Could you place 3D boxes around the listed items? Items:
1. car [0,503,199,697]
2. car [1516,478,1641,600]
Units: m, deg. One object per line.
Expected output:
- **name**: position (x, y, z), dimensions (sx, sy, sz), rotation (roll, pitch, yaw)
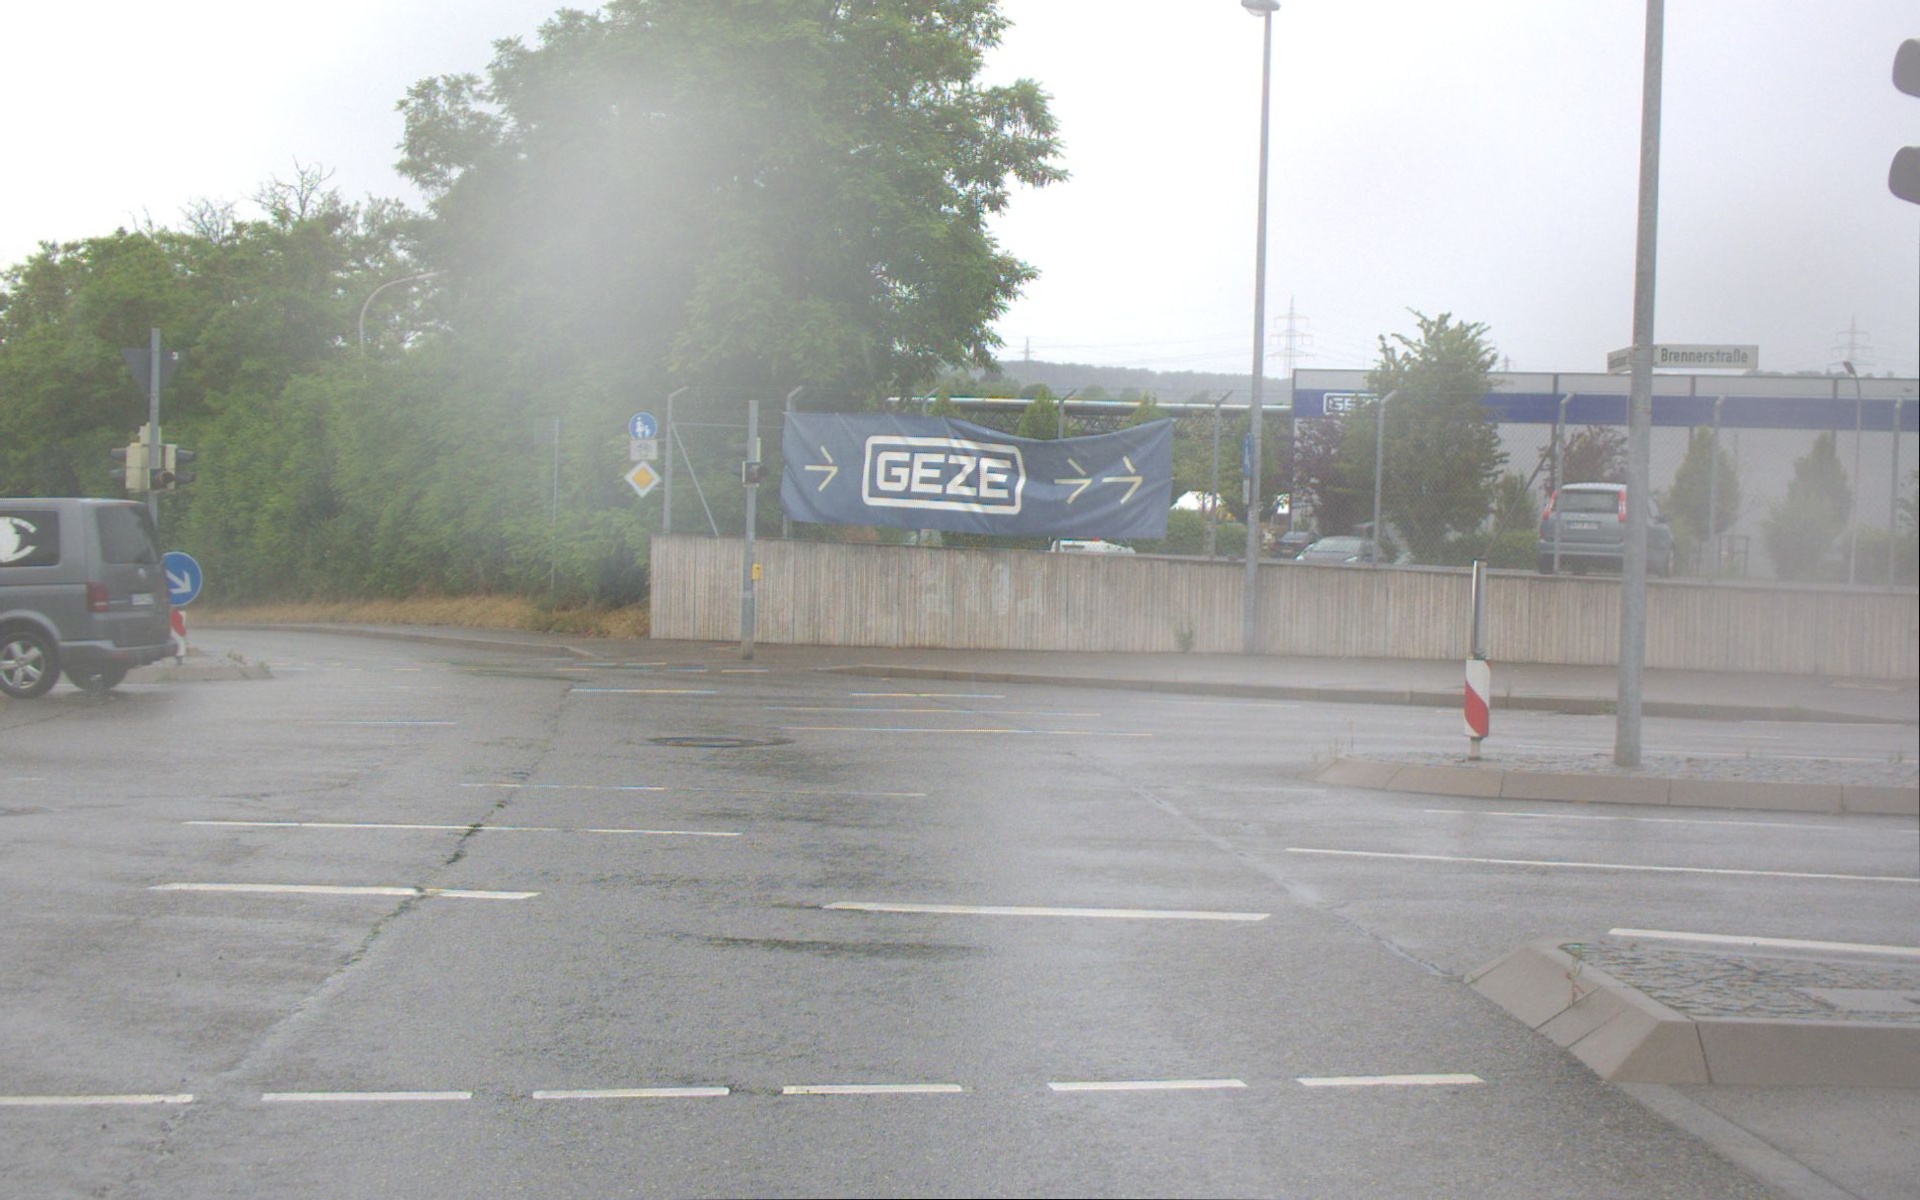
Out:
- **car**: position (-9.951, -0.056, 34.623), dimensions (3.988, 1.842, 1.999), rotation (2, 1, 9)
- **car**: position (10.795, -1.058, 59.806), dimensions (1.994, 2.007, 3.998), rotation (2, 1, 11)
